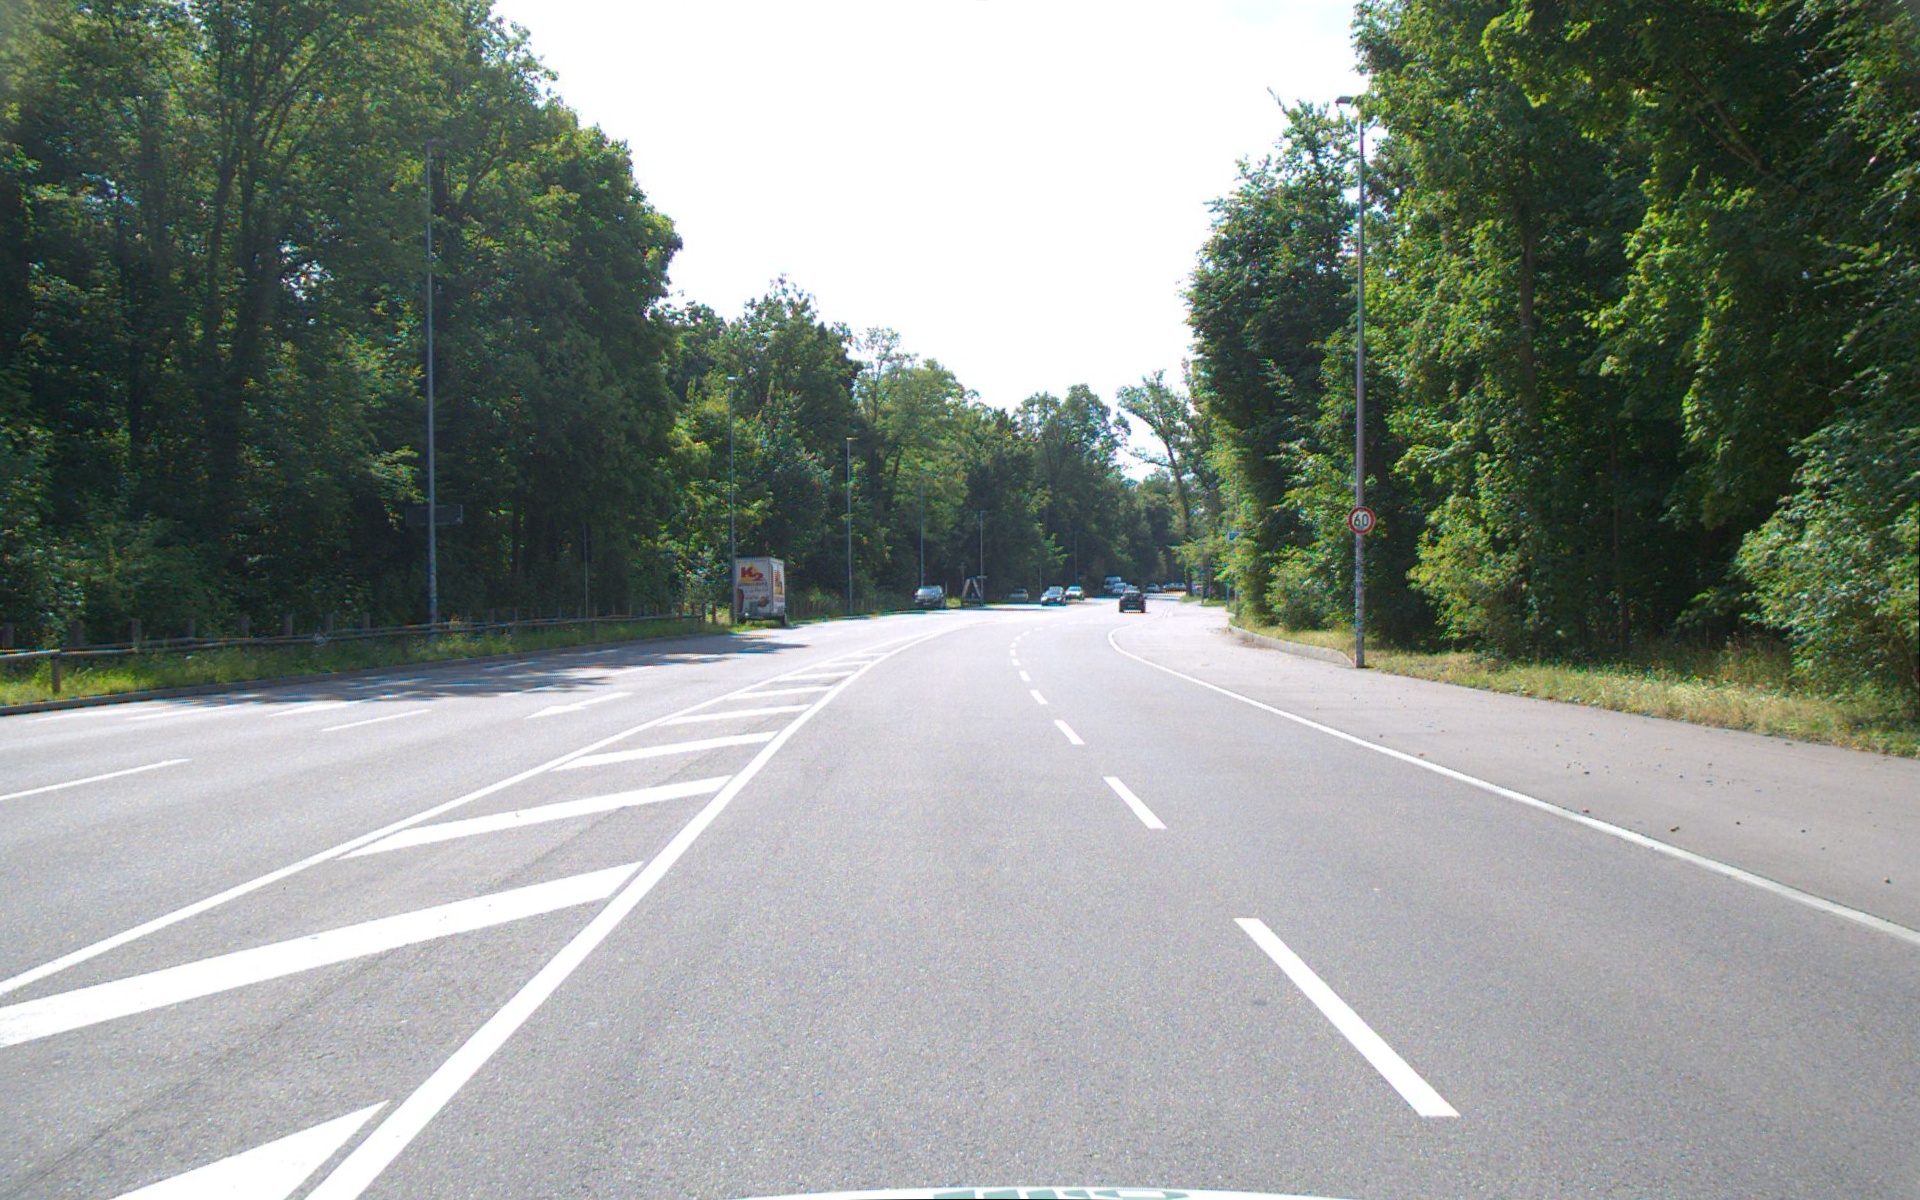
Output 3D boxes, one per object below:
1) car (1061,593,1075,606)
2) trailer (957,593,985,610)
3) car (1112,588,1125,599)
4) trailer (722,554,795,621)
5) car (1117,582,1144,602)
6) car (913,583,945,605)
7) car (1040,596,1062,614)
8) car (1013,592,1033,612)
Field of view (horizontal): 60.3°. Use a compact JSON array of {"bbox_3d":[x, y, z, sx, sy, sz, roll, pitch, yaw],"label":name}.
[{"bbox_3d":[11.828,-0.042,181.375,1.472,1.472,3.531,0,0,4],"label":"car"},{"bbox_3d":[0.910,0.106,133.462,1.680,1.378,3.735,0,0,9],"label":"trailer"},{"bbox_3d":[21.324,-0.864,222.610,1.471,1.472,3.532,0,0,9],"label":"car"},{"bbox_3d":[-7.537,-0.463,62.260,1.951,2.430,4.002,0,0,5],"label":"trailer"},{"bbox_3d":[11.738,-0.550,113.787,1.563,1.402,3.979,0,0,10],"label":"car"},{"bbox_3d":[-2.035,-0.394,110.836,1.471,1.472,3.532,0,0,10],"label":"car"},{"bbox_3d":[7.888,0.427,142.413,1.471,1.472,3.532,0,0,10],"label":"car"},{"bbox_3d":[6.153,0.212,161.451,1.882,1.887,4.001,0,0,3],"label":"car"}]
